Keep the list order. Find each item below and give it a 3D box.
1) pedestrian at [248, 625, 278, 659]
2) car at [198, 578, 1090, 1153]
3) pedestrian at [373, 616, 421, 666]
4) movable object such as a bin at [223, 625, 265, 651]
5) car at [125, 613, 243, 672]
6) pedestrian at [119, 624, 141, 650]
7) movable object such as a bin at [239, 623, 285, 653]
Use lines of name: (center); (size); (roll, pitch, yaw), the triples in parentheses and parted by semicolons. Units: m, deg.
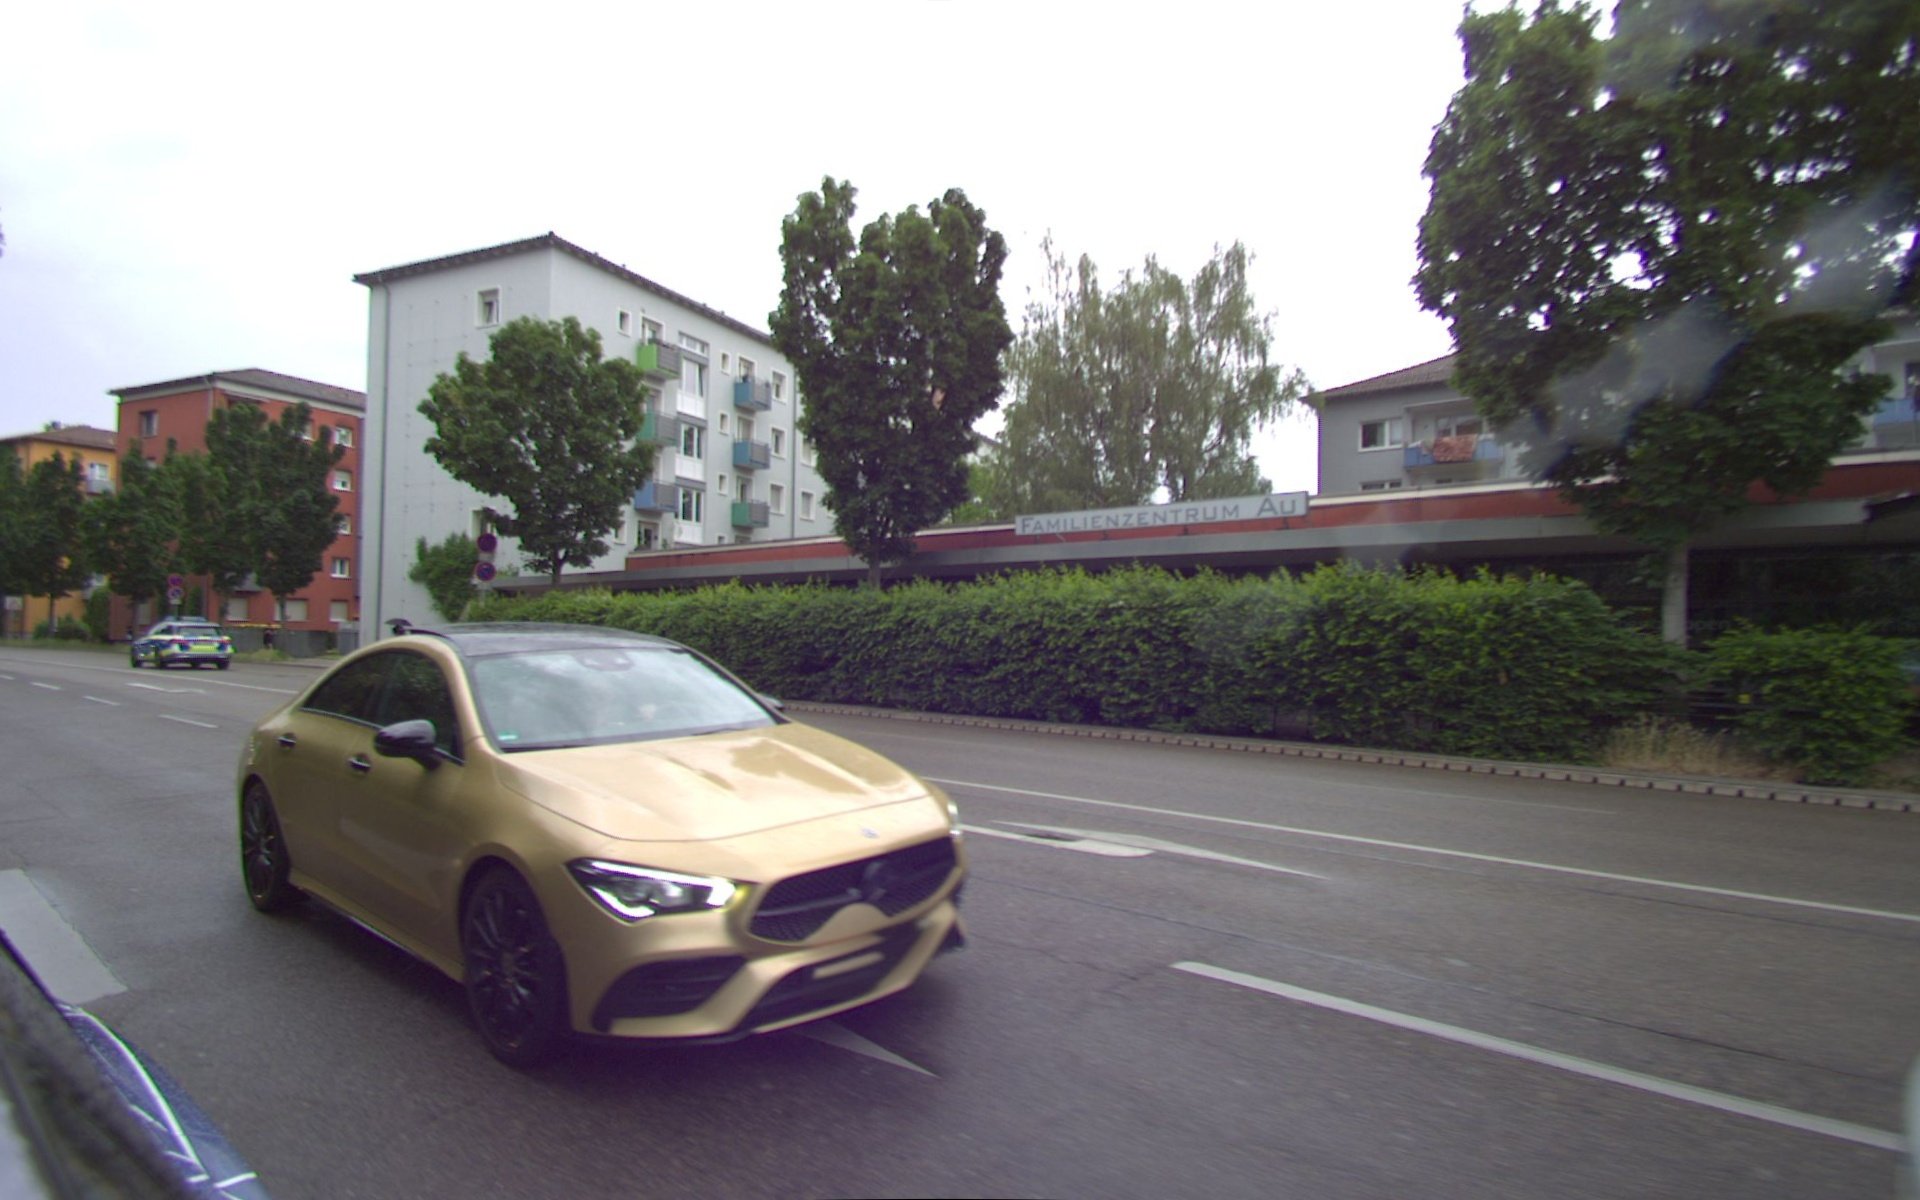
pedestrian: (-31.230, 1.884, 45.366); (1.066, 1.529, 0.687); (-1, -3, 31)
car: (-1.849, 0.755, 4.914); (4.584, 1.475, 2.044); (-1, -3, 41)
pedestrian: (-20.912, 1.504, 37.585); (1.261, 1.818, 1.124); (-1, -3, 37)
movable object such as a bin: (-36.927, 1.960, 52.203); (1.961, 1.341, 1.147); (-1, -3, 35)
car: (-25.033, 1.351, 32.587); (4.803, 1.763, 1.973); (-1, -3, 40)
pedestrian: (-46.746, 2.068, 56.995); (0.833, 1.460, 0.666); (-1, -3, 31)
movable object such as a bin: (-35.148, 1.899, 50.956); (2.082, 1.496, 1.205); (-1, -3, 35)
